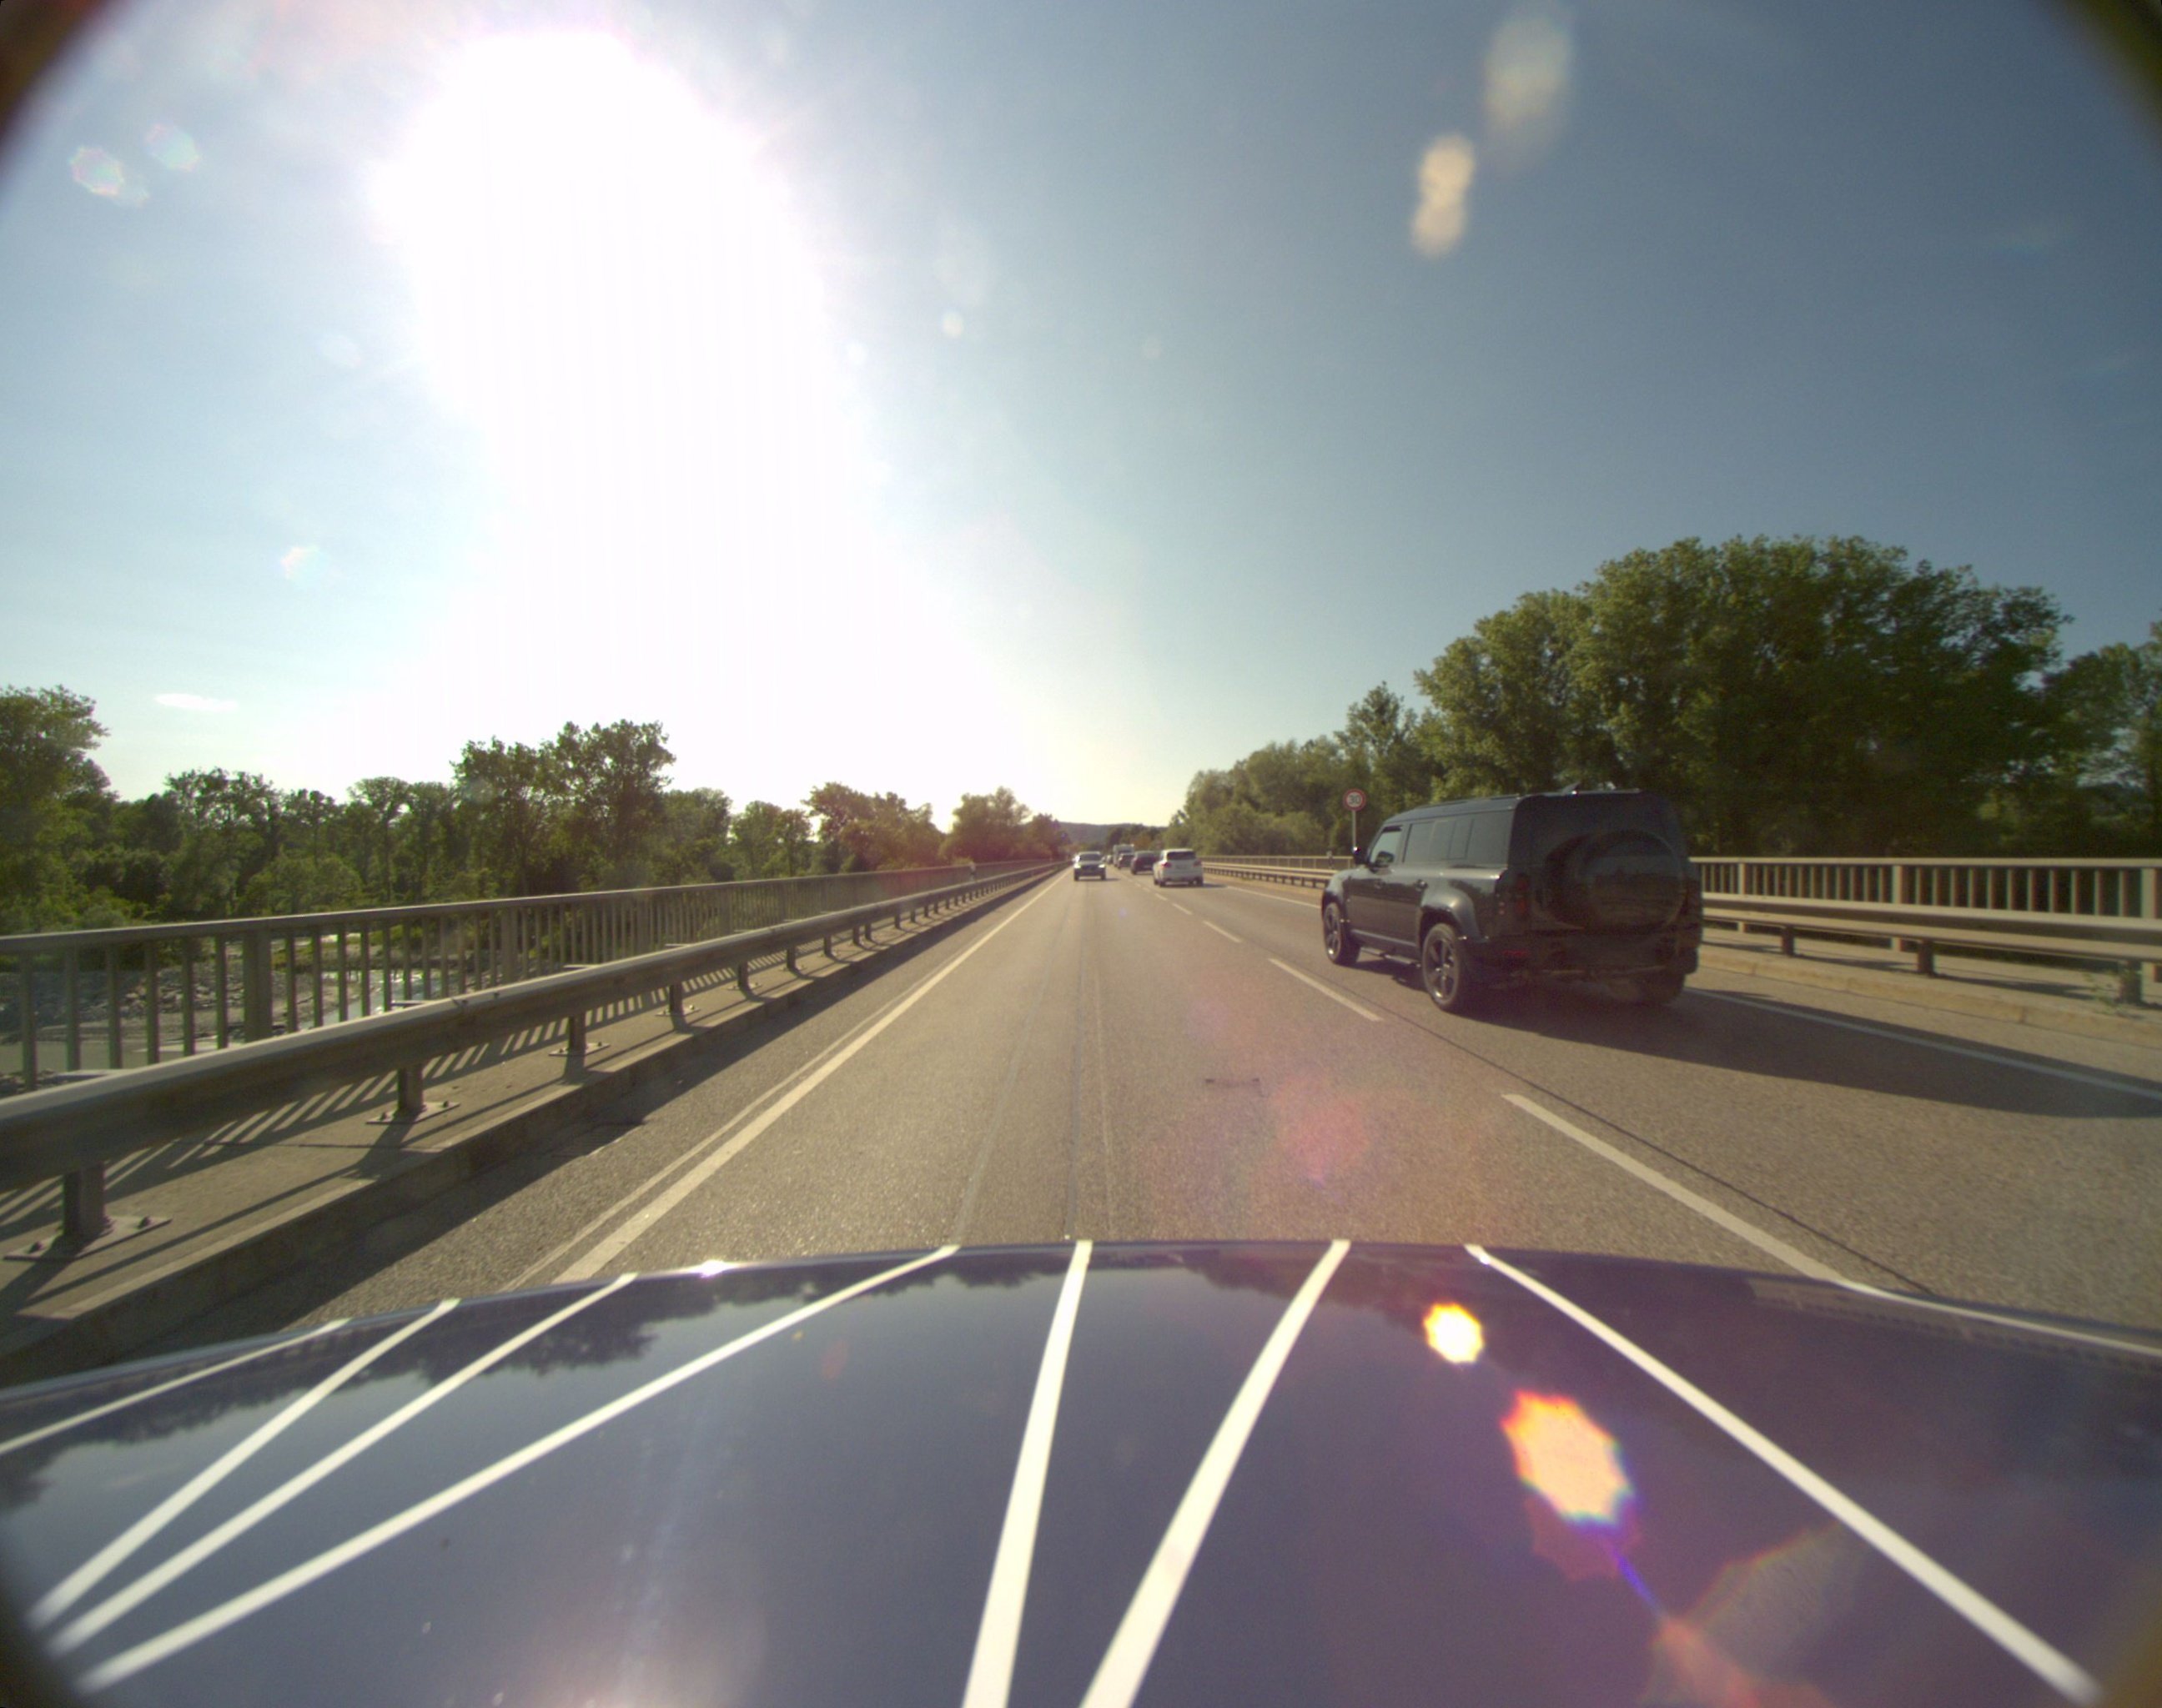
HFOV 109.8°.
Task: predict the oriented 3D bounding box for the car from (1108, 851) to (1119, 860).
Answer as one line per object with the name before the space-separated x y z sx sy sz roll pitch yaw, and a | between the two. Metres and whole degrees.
car | 5.673 0.234 133.656 1.736 1.427 4.486 -2 0 0

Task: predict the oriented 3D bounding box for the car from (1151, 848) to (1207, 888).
car | 4.460 0.609 35.149 1.988 1.641 4.598 -2 0 1

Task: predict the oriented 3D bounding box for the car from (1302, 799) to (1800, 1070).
car | 4.110 0.571 7.972 2.042 1.863 5.069 -2 0 0

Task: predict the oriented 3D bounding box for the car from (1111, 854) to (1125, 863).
car | 5.819 0.668 119.642 1.791 1.412 4.650 -1 0 -1

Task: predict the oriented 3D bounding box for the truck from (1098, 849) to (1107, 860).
truck | 6.549 0.090 234.853 2.620 3.235 6.967 -2 0 0

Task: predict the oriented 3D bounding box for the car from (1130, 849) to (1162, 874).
car | 4.822 0.542 56.705 1.954 1.684 4.476 -2 0 0

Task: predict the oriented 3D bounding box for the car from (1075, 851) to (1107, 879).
car | 0.649 0.676 47.822 1.871 1.598 4.380 -2 0 2

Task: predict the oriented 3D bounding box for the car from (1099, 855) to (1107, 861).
car | 5.696 1.074 197.058 1.825 1.537 4.060 -4 0 -2

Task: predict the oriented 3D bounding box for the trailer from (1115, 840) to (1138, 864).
trailer | 5.538 -0.222 92.577 2.561 2.721 8.063 -2 0 3

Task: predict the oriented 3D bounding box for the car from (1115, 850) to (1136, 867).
car | 4.536 0.405 78.293 1.807 1.651 4.432 -2 0 0
